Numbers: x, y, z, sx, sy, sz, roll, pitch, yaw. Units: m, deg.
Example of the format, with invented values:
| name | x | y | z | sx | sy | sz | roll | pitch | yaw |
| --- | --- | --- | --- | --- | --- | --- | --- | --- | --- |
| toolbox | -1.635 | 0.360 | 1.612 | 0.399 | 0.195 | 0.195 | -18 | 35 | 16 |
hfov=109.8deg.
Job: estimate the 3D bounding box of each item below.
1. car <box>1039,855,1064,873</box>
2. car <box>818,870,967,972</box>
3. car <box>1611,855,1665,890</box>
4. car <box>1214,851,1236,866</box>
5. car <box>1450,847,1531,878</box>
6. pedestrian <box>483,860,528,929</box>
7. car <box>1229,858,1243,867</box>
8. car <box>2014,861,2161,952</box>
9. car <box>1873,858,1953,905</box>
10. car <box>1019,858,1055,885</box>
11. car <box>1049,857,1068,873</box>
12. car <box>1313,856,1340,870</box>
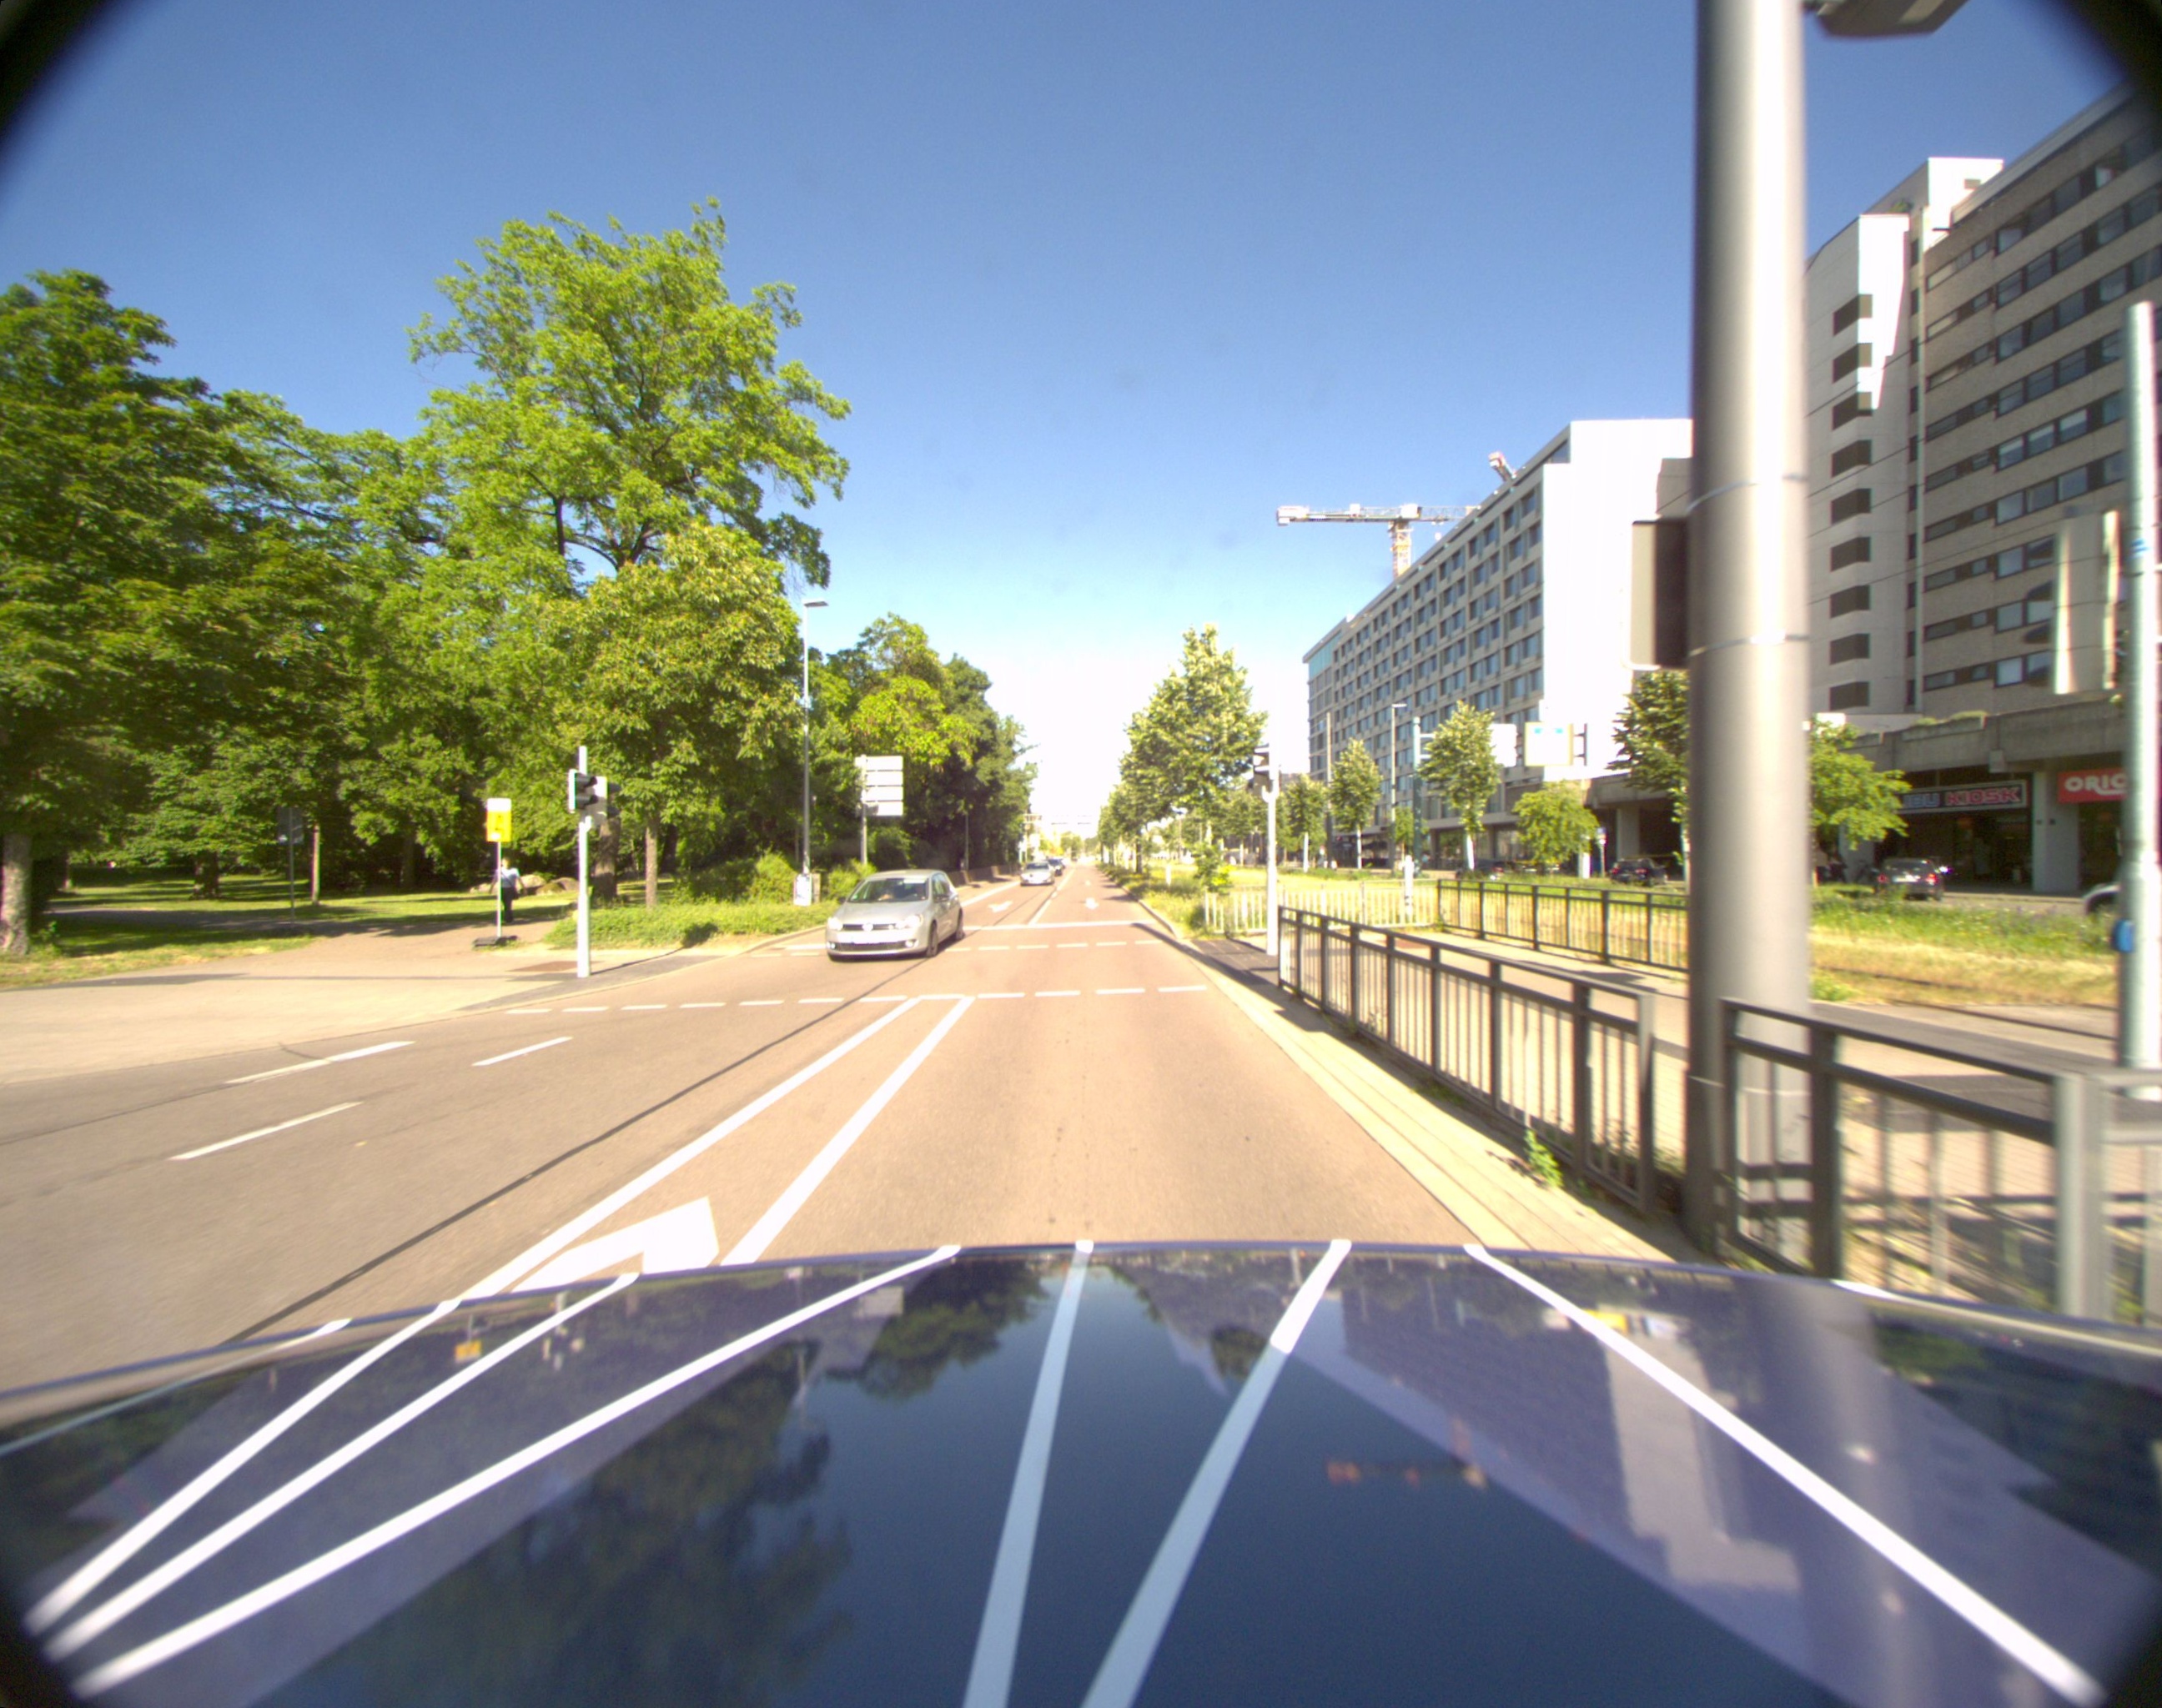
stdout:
| name | x | y | z | sx | sy | sz | roll | pitch | yaw |
| --- | --- | --- | --- | --- | --- | --- | --- | --- | --- |
| car | -2.499 | 0.806 | 63.600 | 1.999 | 1.493 | 3.999 | 0 | 0 | -2 |
| car | -3.251 | 1.087 | 13.909 | 1.703 | 1.465 | 3.999 | -1 | 0 | 0 |
| car | 29.422 | 0.953 | 40.091 | 1.791 | 1.674 | 4.008 | -1 | 1 | 44 |
| car | 18.221 | 0.560 | 96.250 | 1.998 | 1.808 | 4.286 | -1 | 0 | 1 |
| car | 22.724 | 0.441 | 42.393 | 1.999 | 1.569 | 4.506 | -1 | 0 | -1 |
| pedestrian | -14.719 | 1.014 | 19.447 | 0.739 | 1.692 | 0.873 | -2 | 1 | -29 |
| car | 27.545 | 1.512 | 135.073 | 1.827 | 1.499 | 3.813 | -1 | 0 | 0 |
| car | 20.642 | 0.968 | 13.720 | 1.999 | 1.569 | 4.506 | -1 | 0 | -1 |
| car | 30.248 | 0.955 | 27.732 | 1.712 | 1.511 | 4.008 | -1 | 1 | 44 |
| car | -2.531 | 0.979 | 44.557 | 1.839 | 1.415 | 3.999 | -1 | 0 | 0 |
| car | -2.588 | 1.259 | 87.802 | 1.998 | 1.718 | 4.000 | -1 | 0 | 0 |
| car | 28.939 | 1.085 | 89.652 | 1.865 | 1.541 | 3.773 | -1 | 0 | 0 |
